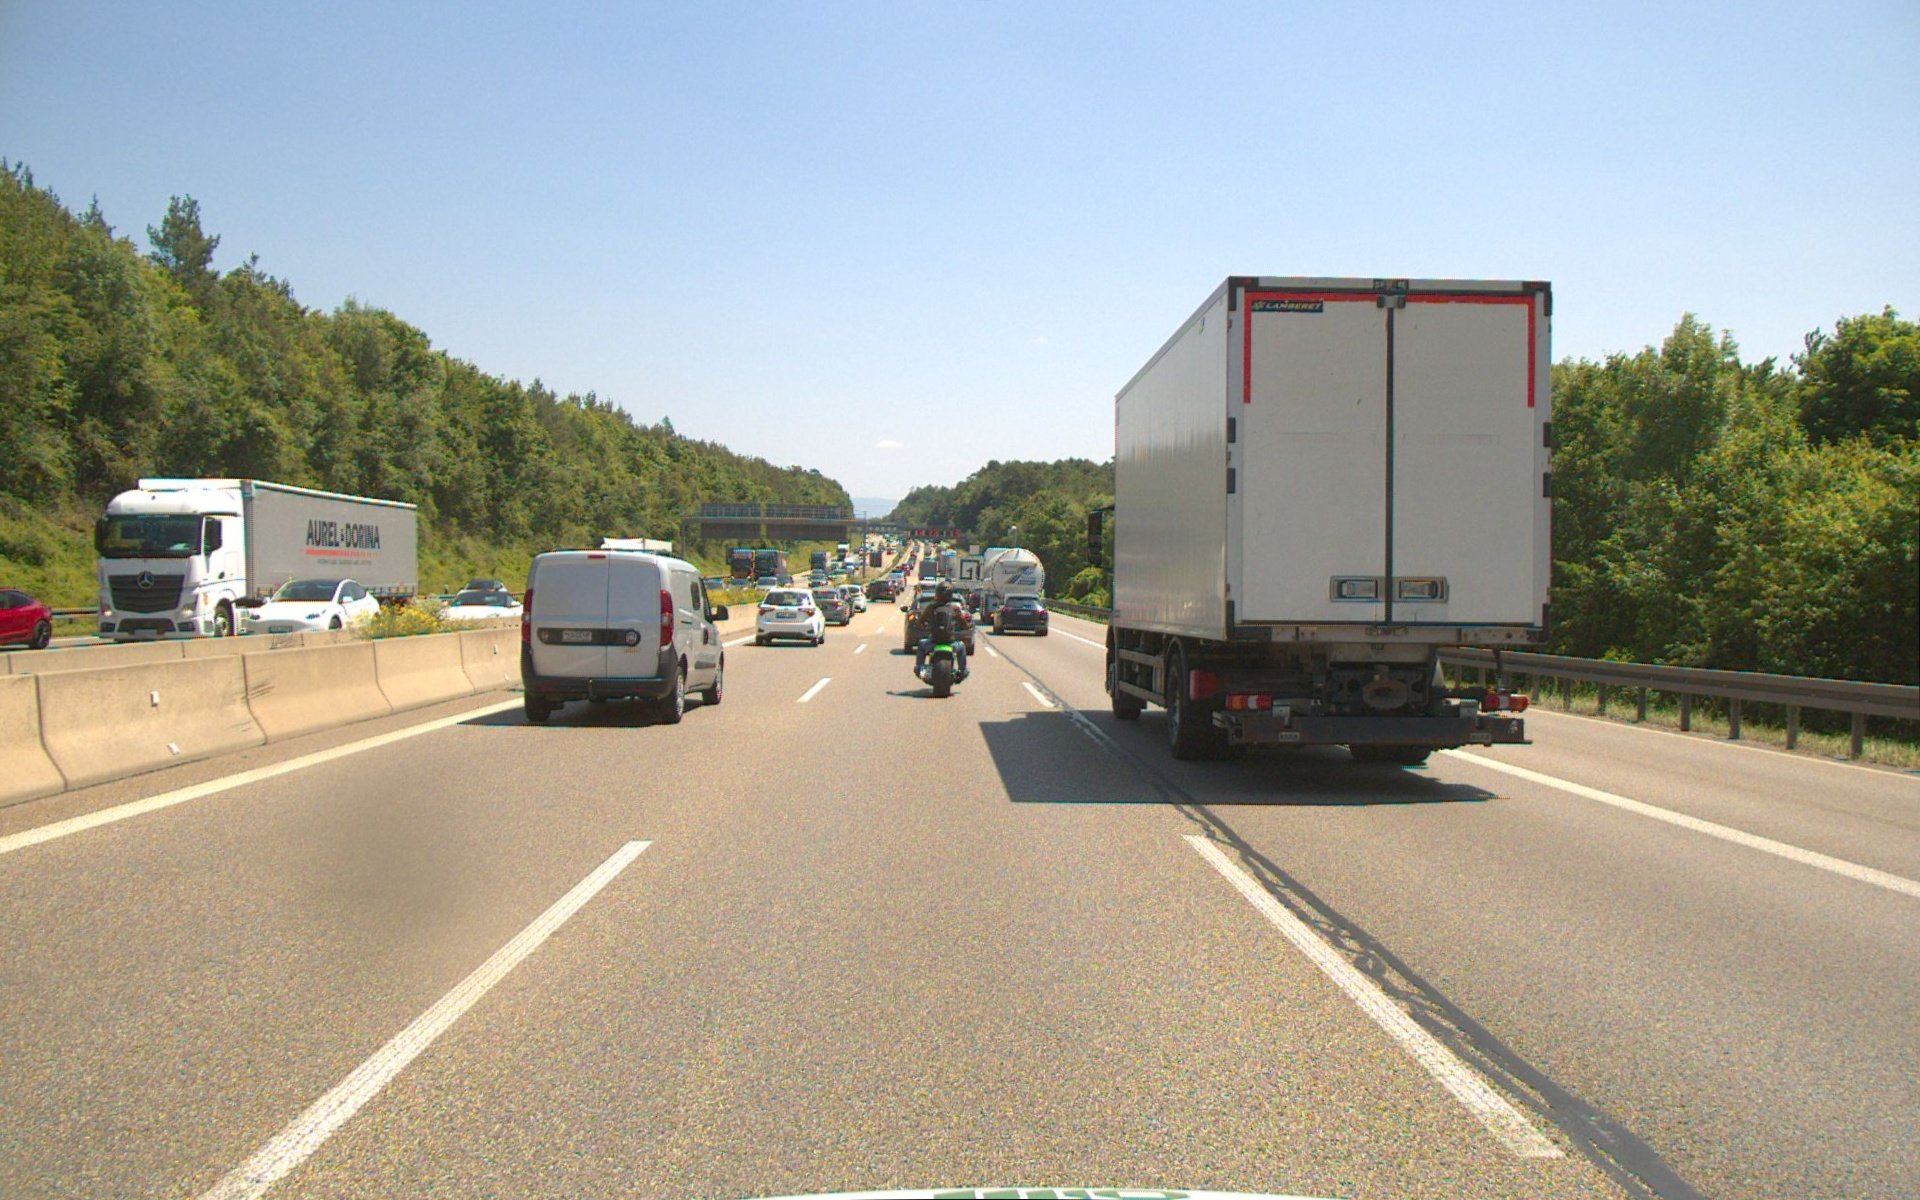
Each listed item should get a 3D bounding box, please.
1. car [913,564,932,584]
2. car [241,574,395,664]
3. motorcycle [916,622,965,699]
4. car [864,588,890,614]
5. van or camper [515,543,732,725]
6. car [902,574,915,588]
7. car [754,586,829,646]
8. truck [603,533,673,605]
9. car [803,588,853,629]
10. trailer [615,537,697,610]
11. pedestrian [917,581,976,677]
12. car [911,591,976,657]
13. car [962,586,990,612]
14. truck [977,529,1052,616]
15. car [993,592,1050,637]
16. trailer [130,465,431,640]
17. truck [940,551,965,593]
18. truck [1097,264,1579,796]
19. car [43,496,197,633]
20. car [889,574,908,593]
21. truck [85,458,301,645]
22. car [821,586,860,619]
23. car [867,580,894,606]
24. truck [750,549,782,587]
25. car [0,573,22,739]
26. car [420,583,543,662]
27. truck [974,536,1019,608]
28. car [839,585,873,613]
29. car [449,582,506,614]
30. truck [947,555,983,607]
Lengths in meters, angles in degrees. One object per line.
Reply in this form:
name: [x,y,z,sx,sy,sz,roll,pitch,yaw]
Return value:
car: [-4.979,-3.449,219.953,2.453,2.632,5.015,1,1,-1]
car: [-15.292,0.435,39.678,1.953,1.983,4.746,-1,0,-2]
motorcycle: [-0.276,0.879,24.608,0.677,1.033,2.121,2,0,0]
car: [-6.948,0.101,138.189,1.953,2.049,3.999,-1,0,-1]
van or camper: [-3.915,0.378,19.930,1.759,1.925,4.159,1,0,-1]
car: [-8.004,-2.927,256.099,1.953,2.049,3.999,2,1,-1]
car: [-4.512,0.391,44.645,1.665,1.504,3.999,1,1,-1]
truck: [-19.676,-1.815,101.473,2.745,4.238,7.600,0,0,1]
car: [-5.129,0.290,64.743,1.665,1.504,3.999,1,1,-1]
trailer: [-19.682,-1.598,108.002,2.745,4.414,14.036,0,0,0]
pedestrian: [-0.194,0.422,24.580,0.832,1.385,0.961,-1,0,0]
car: [-0.452,0.556,41.318,1.502,1.536,3.999,-1,0,-2]
car: [1.027,-0.074,108.550,1.751,1.583,3.803,1,1,-1]
truck: [2.418,-1.181,76.794,2.927,3.735,9.285,-1,0,-1]
car: [2.202,0.512,60.052,1.791,1.496,3.999,2,1,-1]
trailer: [-18.974,-1.125,47.828,2.777,4.238,14.735,-1,0,-1]
truck: [-1.064,-3.685,217.343,2.972,5.229,9.980,2,1,-1]
truck: [3.258,-0.552,17.374,2.633,3.944,9.779,-2,0,-1]
car: [-25.523,-1.050,50.448,2.399,3.941,4.564,-1,0,-2]
car: [-6.605,-1.758,178.179,1.890,2.049,3.999,-1,0,-1]
truck: [-18.811,-1.131,40.953,2.783,4.288,5.658,0,0,-1]
car: [-5.762,0.101,79.942,1.665,1.504,3.999,1,1,-1]
car: [-5.890,-0.530,123.186,1.842,1.892,3.999,2,1,-1]
truck: [-22.064,-3.627,188.173,2.847,4.043,7.767,-1,0,-1]
car: [-11.278,0.624,16.280,1.736,1.803,4.183,0,0,-1]
car: [-11.842,0.542,41.173,1.953,1.825,3.999,-1,0,-1]
truck: [1.862,-1.395,85.872,1.954,3.584,4.748,-1,0,-3]
car: [-5.738,-0.074,91.370,1.665,1.504,3.999,1,1,-1]
car: [-23.535,-0.105,80.743,1.633,1.492,4.189,0,0,-1]
truck: [0.447,-1.761,154.729,2.972,4.621,9.980,2,1,-1]
